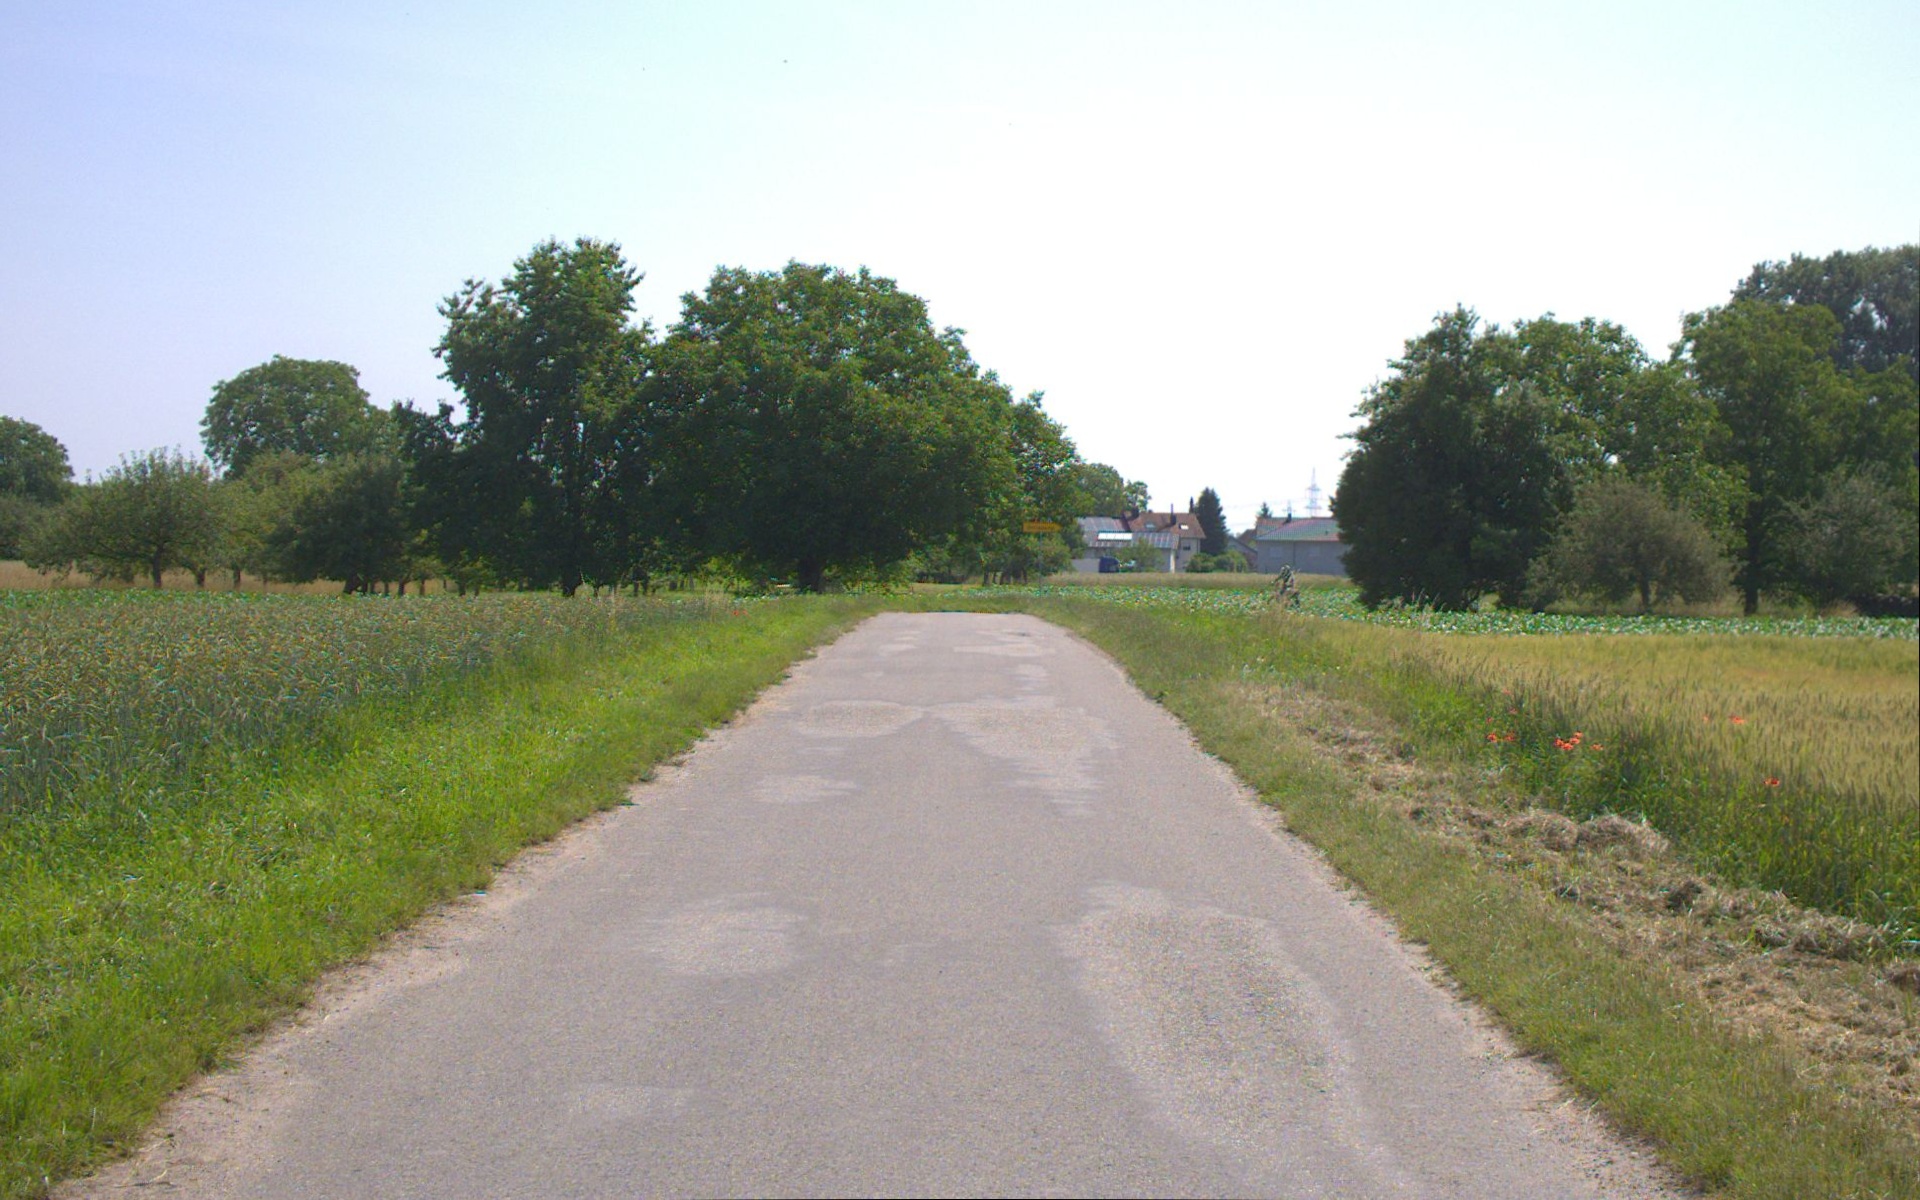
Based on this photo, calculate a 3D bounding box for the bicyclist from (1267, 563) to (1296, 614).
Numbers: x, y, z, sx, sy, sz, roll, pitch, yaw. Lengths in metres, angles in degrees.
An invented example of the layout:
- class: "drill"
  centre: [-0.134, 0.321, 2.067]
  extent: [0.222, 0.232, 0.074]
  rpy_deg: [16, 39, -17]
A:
- class: "bicyclist"
  centre: [11.371, -0.400, 121.661]
  extent: [0.752, 1.785, 0.715]
  rpy_deg: [-1, 0, 37]

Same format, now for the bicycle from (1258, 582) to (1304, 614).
- class: "bicycle"
  centre: [11.370, -0.079, 121.658]
  extent: [0.752, 1.124, 1.904]
  rpy_deg: [-1, 0, 36]
